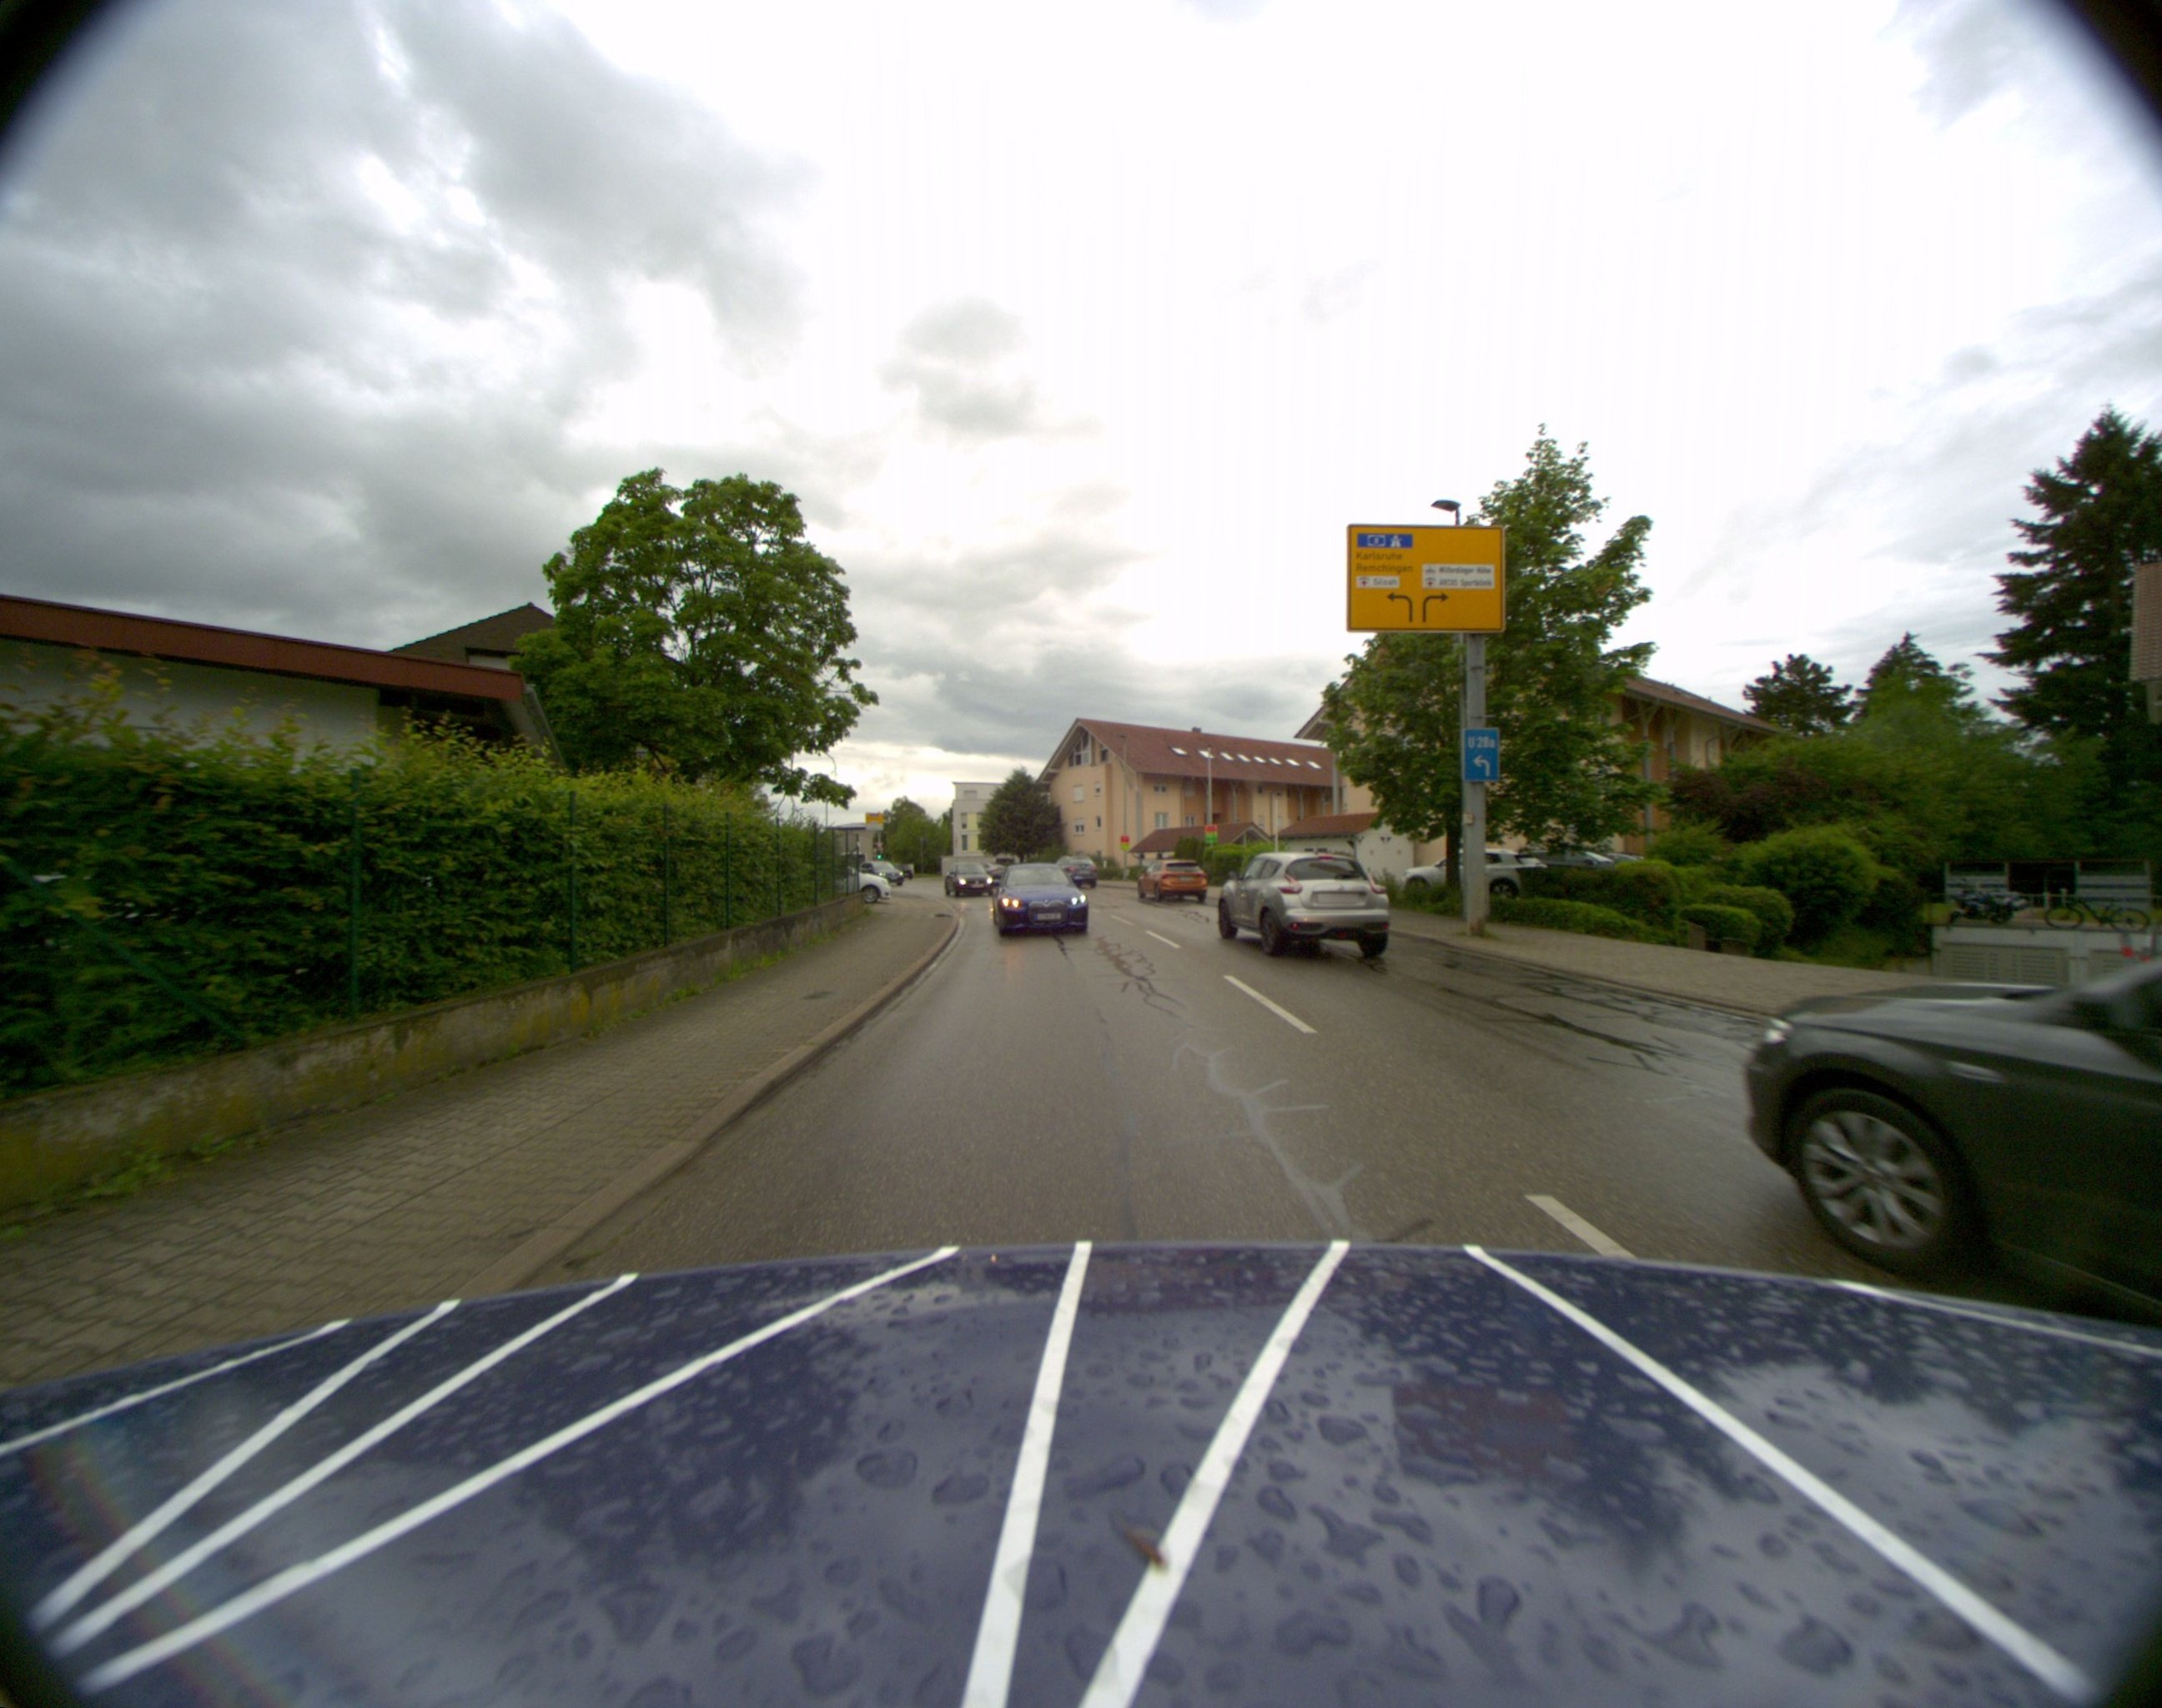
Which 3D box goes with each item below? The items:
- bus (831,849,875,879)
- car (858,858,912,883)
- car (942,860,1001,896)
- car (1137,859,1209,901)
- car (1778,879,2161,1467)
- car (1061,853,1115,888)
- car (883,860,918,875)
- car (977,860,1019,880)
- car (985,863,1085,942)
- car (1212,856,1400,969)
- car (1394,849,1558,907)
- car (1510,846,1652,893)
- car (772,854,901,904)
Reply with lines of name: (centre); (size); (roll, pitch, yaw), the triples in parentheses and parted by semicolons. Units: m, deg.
bus: (-25.645, 1.079, 84.991); (2.792, 3.115, 10.835); (-1, 0, -27)
car: (-13.237, 1.105, 51.218); (1.845, 1.541, 3.989); (-2, 1, -41)
car: (-5.009, 1.036, 34.282); (1.843, 1.440, 3.993); (-2, 1, -19)
car: (3.238, 0.882, 27.346); (1.691, 1.377, 3.771); (0, 0, -7)
car: (3.601, 0.819, 0.888); (1.780, 1.465, 4.251); (0, 0, 2)
car: (0.292, 0.788, 39.200); (1.885, 1.686, 3.995); (0, 0, -13)
car: (-16.871, 1.207, 71.014); (1.887, 1.328, 3.990); (-1, 0, -34)
car: (-6.069, 1.132, 55.096); (1.886, 1.328, 3.992); (0, 0, -25)
car: (-0.899, 0.984, 17.078); (1.913, 1.425, 4.300); (-2, 0, 0)
car: (3.440, 0.807, 12.441); (1.668, 1.516, 3.998); (0, 0, -4)
car: (11.697, 0.650, 22.733); (1.741, 1.592, 3.989); (-1, 0, -35)
car: (15.785, 0.449, 24.117); (1.519, 1.373, 3.430); (-1, 0, -35)
car: (-8.466, 0.868, 26.339); (4.006, 1.550, 1.877); (3, -1, -24)
